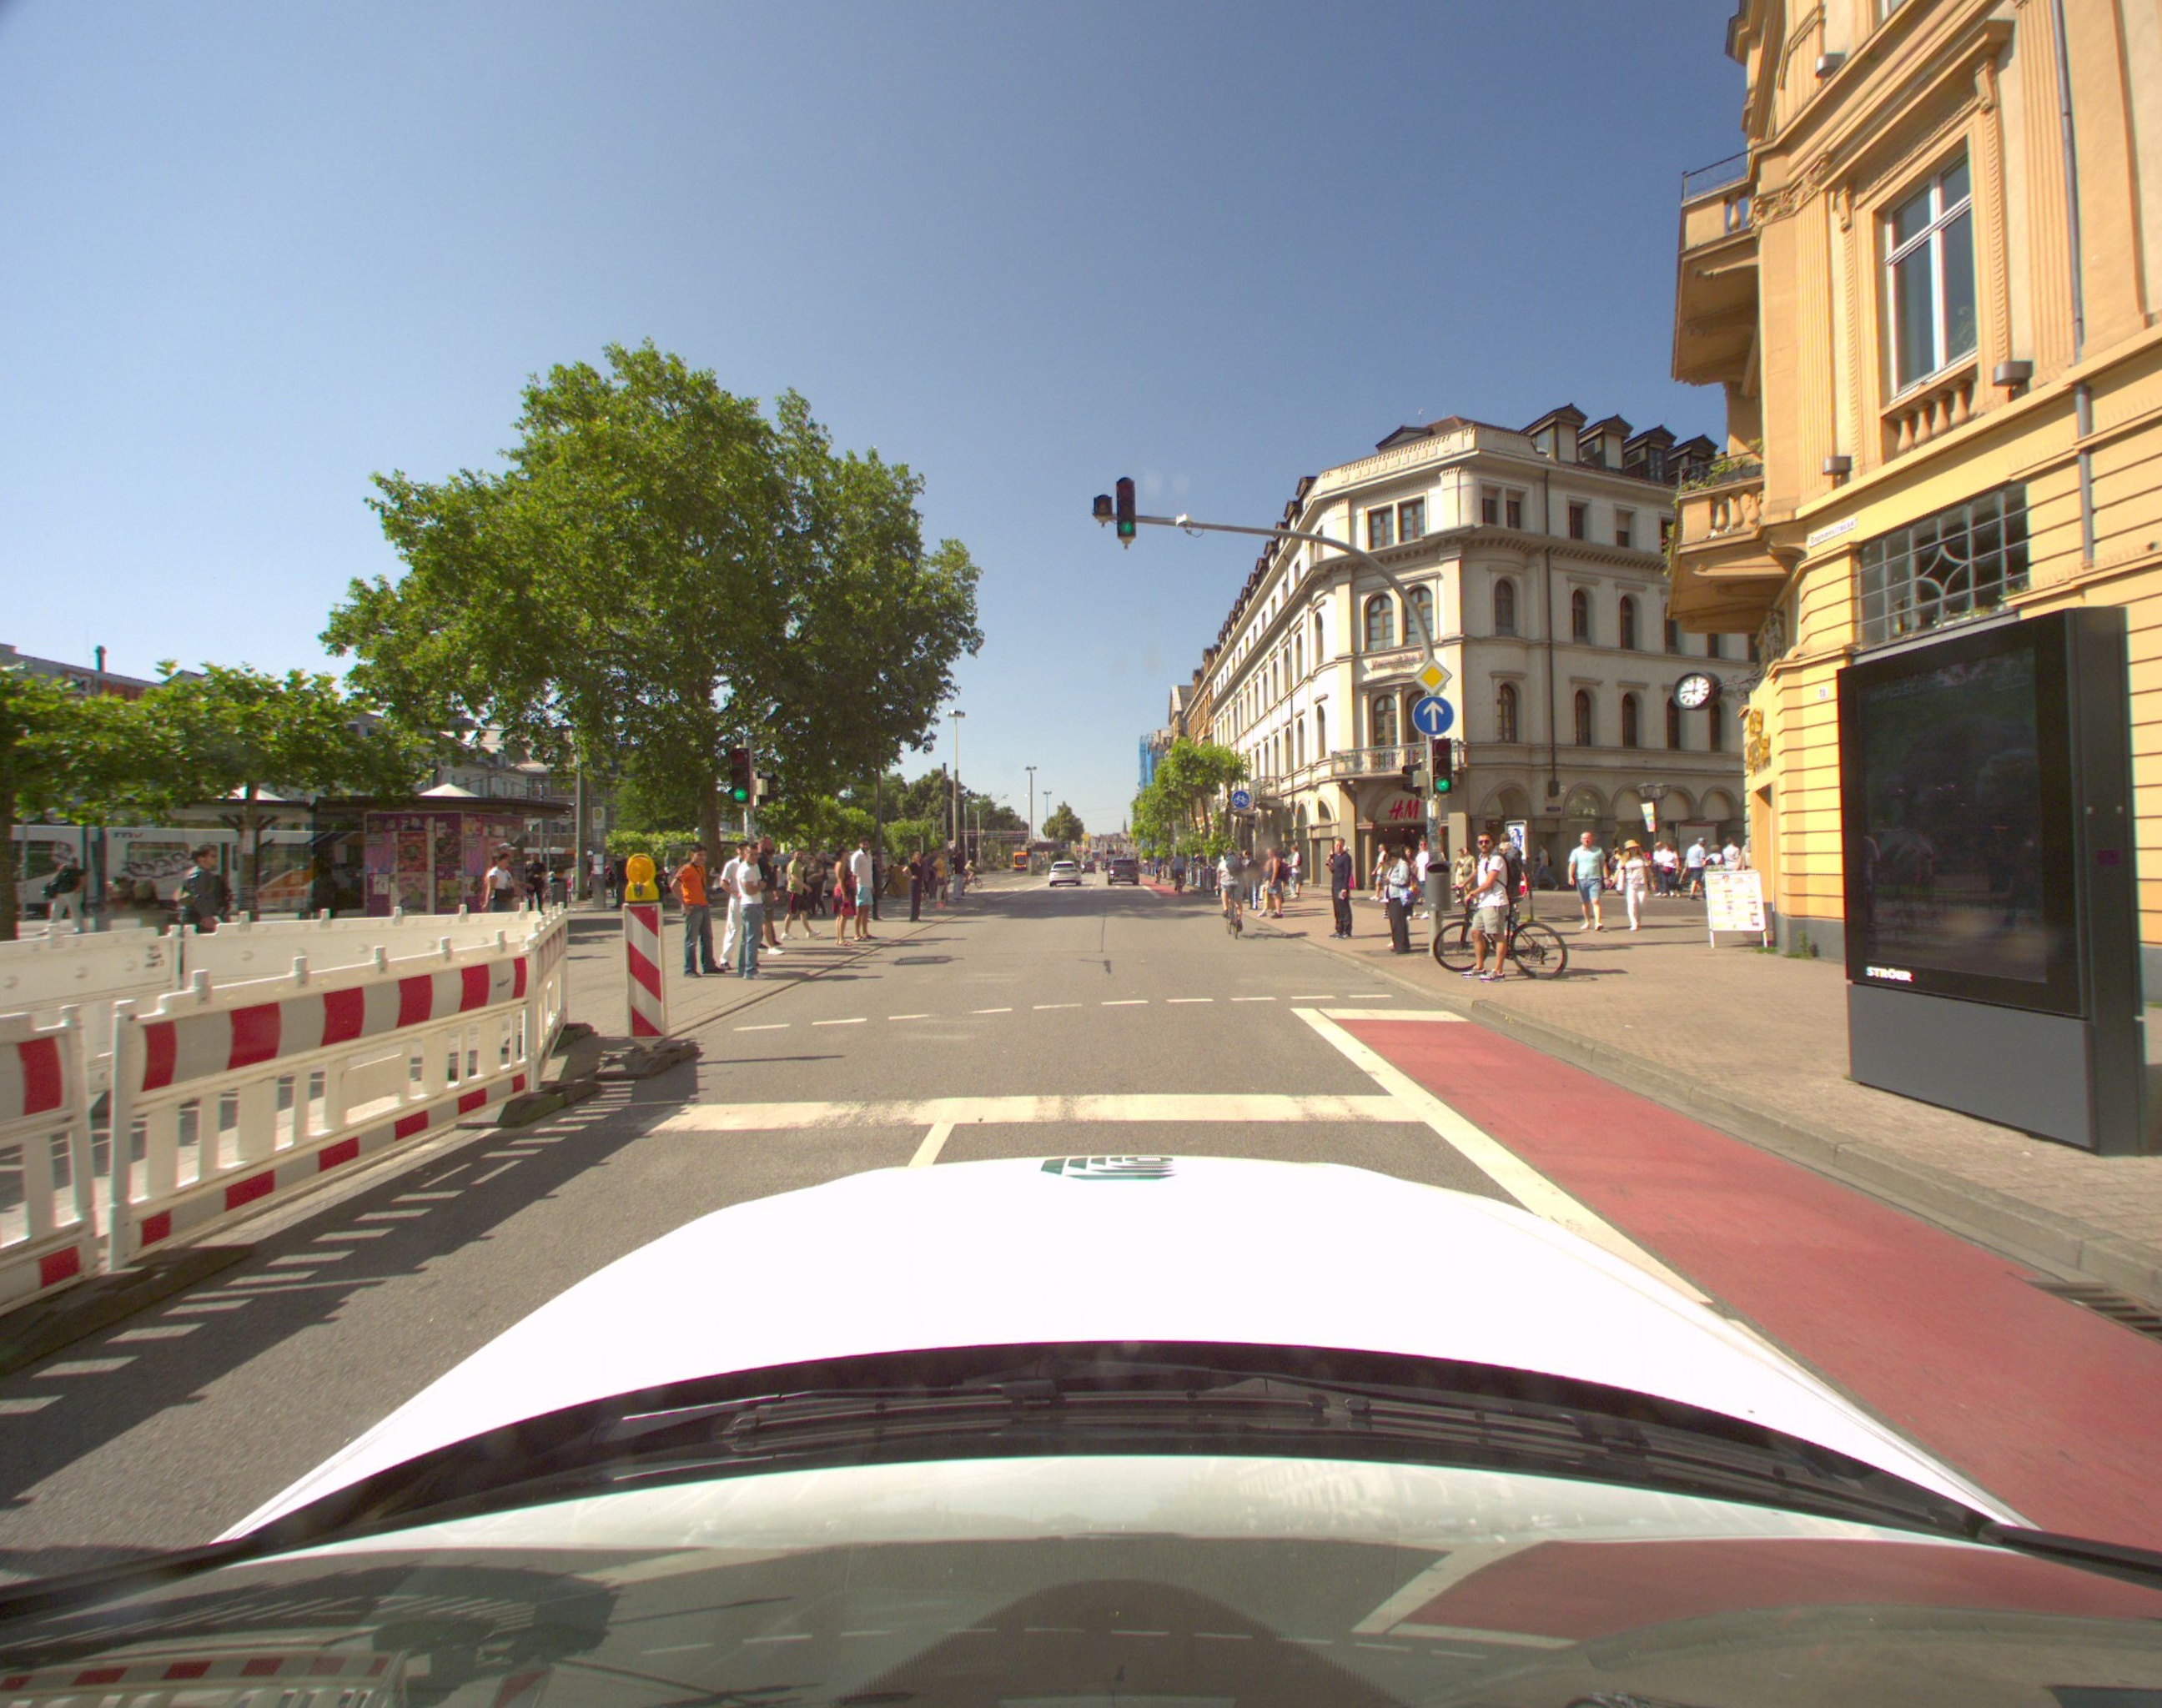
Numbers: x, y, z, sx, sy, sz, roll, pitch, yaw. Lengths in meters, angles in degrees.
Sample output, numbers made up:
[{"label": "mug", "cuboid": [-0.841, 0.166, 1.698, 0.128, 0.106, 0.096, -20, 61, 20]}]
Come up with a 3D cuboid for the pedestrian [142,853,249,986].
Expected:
[{"label": "pedestrian", "cuboid": [-10.583, 0.757, 9.747, 0.573, 1.532, 0.607, 0, -1, 7]}]

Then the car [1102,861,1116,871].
[{"label": "car", "cuboid": [3.912, 1.670, 114.825, 1.839, 1.413, 4.001, -1, 0, 1]}]

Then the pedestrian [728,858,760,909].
[{"label": "pedestrian", "cuboid": [-10.552, 0.927, 25.535, 0.627, 1.566, 0.669, -1, -1, 22]}]

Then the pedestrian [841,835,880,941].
[{"label": "pedestrian", "cuboid": [-4.083, 0.620, 15.104, 0.529, 1.919, 0.560, -1, -1, 3]}]

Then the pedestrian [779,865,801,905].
[{"label": "pedestrian", "cuboid": [-10.337, 1.097, 28.877, 0.661, 1.386, 0.659, 0, -1, -26]}]

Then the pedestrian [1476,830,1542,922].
[{"label": "pedestrian", "cuboid": [8.678, 0.451, 16.553, 0.655, 1.790, 1.233, -1, -2, 1]}]

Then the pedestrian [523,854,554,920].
[{"label": "pedestrian", "cuboid": [-15.534, 0.949, 23.338, 0.499, 1.859, 0.550, -1, -1, 23]}]

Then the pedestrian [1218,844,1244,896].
[{"label": "pedestrian", "cuboid": [5.631, 0.606, 30.643, 0.681, 1.898, 0.615, -4, -1, 28]}]

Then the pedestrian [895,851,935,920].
[{"label": "pedestrian", "cuboid": [-3.884, 0.733, 19.121, 0.627, 1.595, 0.690, -1, -1, 22]}]

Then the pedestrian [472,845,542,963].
[{"label": "pedestrian", "cuboid": [-8.744, 0.747, 12.415, 0.573, 1.739, 0.607, 0, -1, 7]}]

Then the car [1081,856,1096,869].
[{"label": "car", "cuboid": [0.962, 0.997, 99.794, 1.839, 1.560, 4.001, -1, 0, 1]}]

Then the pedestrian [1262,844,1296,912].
[{"label": "pedestrian", "cuboid": [5.353, 0.638, 22.086, 0.608, 1.759, 0.677, -5, -1, 0]}]

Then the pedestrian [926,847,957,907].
[{"label": "pedestrian", "cuboid": [-4.283, 0.704, 25.079, 0.627, 1.794, 0.735, -1, -1, 22]}]

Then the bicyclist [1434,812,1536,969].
[{"label": "bicyclist", "cuboid": [4.906, 0.424, 9.913, 0.577, 1.797, 0.848, -3, 0, -33]}]

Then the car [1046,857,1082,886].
[{"label": "car", "cuboid": [-0.960, 1.021, 48.274, 1.838, 1.560, 4.002, -2, 0, 2]}]

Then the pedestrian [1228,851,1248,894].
[{"label": "pedestrian", "cuboid": [6.078, 0.714, 31.526, 0.525, 1.595, 0.615, -1, 2, 28]}]

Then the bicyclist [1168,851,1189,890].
[{"label": "bicyclist", "cuboid": [4.120, 0.683, 34.325, 0.771, 1.635, 0.851, -1, 0, 2]}]

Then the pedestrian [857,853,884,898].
[{"label": "pedestrian", "cuboid": [-8.266, 0.839, 32.003, 0.671, 1.764, 0.771, -1, -1, 31]}]

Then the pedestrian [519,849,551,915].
[{"label": "pedestrian", "cuboid": [-15.572, 0.786, 23.249, 0.503, 1.859, 0.569, -1, -1, 22]}]

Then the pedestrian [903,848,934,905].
[{"label": "pedestrian", "cuboid": [-5.329, 0.736, 26.717, 0.626, 1.859, 0.735, -1, -1, 31]}]

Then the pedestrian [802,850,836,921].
[{"label": "pedestrian", "cuboid": [-6.665, 0.796, 20.743, 0.573, 1.779, 0.607, 0, -1, 7]}]

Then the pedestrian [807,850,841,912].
[{"label": "pedestrian", "cuboid": [-7.608, 0.783, 24.096, 0.627, 1.810, 0.735, -1, -1, 22]}]

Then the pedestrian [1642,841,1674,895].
[{"label": "pedestrian", "cuboid": [18.703, 0.435, 26.384, 0.543, 1.716, 0.671, 0, 0, -29]}]

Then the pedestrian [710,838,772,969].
[{"label": "pedestrian", "cuboid": [-4.783, 0.679, 11.473, 0.536, 1.779, 0.607, 0, -1, 7]}]

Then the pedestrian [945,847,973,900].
[{"label": "pedestrian", "cuboid": [-4.280, 0.690, 28.643, 0.626, 1.834, 0.735, -1, -1, 31]}]

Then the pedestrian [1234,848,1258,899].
[{"label": "pedestrian", "cuboid": [5.570, 0.665, 27.545, 0.581, 1.673, 0.605, -4, -1, 0]}]

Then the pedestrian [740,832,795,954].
[{"label": "pedestrian", "cuboid": [-5.006, 0.608, 13.027, 0.573, 1.891, 0.654, 1, -1, 3]}]

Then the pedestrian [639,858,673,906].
[{"label": "pedestrian", "cuboid": [-13.575, 0.888, 26.013, 0.627, 1.478, 0.735, -1, -1, 22]}]

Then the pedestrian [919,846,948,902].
[{"label": "pedestrian", "cuboid": [-4.948, 0.669, 27.369, 0.626, 1.859, 0.735, -1, -1, 31]}]

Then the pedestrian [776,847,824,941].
[{"label": "pedestrian", "cuboid": [-5.313, 0.735, 15.442, 0.581, 1.722, 0.790, -1, 0, 3]}]

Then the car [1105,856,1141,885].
[{"label": "car", "cuboid": [2.422, 0.916, 47.432, 1.839, 1.559, 4.000, -2, 0, 0]}]

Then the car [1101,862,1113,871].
[{"label": "car", "cuboid": [4.054, 1.958, 126.620, 1.839, 1.413, 4.001, -1, 0, 1]}]

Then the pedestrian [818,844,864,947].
[{"label": "pedestrian", "cuboid": [-4.192, 0.708, 14.248, 0.573, 1.758, 0.639, -1, -1, 3]}]

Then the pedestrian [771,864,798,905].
[{"label": "pedestrian", "cuboid": [-10.236, 1.033, 28.119, 0.729, 1.386, 0.664, -1, -1, -6]}]

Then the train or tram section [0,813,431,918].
[{"label": "train or tram section", "cuboid": [-36.274, 0.410, 32.790, 2.587, 3.676, 15.647, -1, 0, 37]}]

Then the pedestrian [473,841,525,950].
[{"label": "pedestrian", "cuboid": [-10.337, 0.713, 14.481, 0.666, 1.879, 0.625, 1, -1, -32]}]

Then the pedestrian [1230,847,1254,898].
[{"label": "pedestrian", "cuboid": [5.583, 0.629, 28.220, 0.581, 1.700, 0.605, -4, -1, 0]}]

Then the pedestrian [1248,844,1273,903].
[{"label": "pedestrian", "cuboid": [5.690, 0.620, 25.860, 0.608, 1.824, 0.677, -1, -1, 0]}]

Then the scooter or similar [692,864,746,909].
[{"label": "scooter or similar", "cuboid": [-11.697, 1.034, 26.314, 1.264, 1.421, 1.045, -1, -1, 32]}]

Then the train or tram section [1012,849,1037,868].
[{"label": "train or tram section", "cuboid": [-9.885, 0.770, 143.655, 2.600, 3.348, 11.018, -1, 0, 5]}]

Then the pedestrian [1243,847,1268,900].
[{"label": "pedestrian", "cuboid": [5.709, 0.628, 26.610, 0.581, 1.673, 0.605, -4, -1, 0]}]

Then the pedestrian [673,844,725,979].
[{"label": "pedestrian", "cuboid": [-5.023, 0.731, 10.699, 0.542, 1.718, 0.600, 1, -1, -29]}]

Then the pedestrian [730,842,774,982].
[{"label": "pedestrian", "cuboid": [-4.248, 0.721, 10.507, 0.431, 1.740, 0.600, 1, -1, -29]}]

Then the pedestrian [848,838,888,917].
[{"label": "pedestrian", "cuboid": [-5.131, 0.564, 19.622, 0.627, 1.859, 0.690, -1, -1, 22]}]

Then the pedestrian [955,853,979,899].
[{"label": "pedestrian", "cuboid": [-4.239, 0.808, 30.258, 0.611, 1.668, 0.596, -1, -1, 31]}]

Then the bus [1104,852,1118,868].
[{"label": "bus", "cuboid": [6.874, 1.383, 187.731, 2.984, 3.594, 11.746, -1, -1, 1]}]

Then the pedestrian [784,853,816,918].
[{"label": "pedestrian", "cuboid": [-7.544, 0.837, 21.898, 0.573, 1.711, 0.607, 0, -1, 6]}]

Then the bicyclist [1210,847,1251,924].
[{"label": "bicyclist", "cuboid": [2.968, 0.599, 16.217, 0.628, 1.481, 1.198, 0, 0, 1]}]

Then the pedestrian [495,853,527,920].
[{"label": "pedestrian", "cuboid": [-16.089, 0.908, 22.994, 0.503, 1.859, 0.569, -1, -1, 22]}]

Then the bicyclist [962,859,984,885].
[{"label": "bicyclist", "cuboid": [-6.383, 1.032, 48.111, 1.054, 1.503, 0.735, 0, -1, -25]}]

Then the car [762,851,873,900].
[{"label": "car", "cuboid": [-11.255, 0.888, 35.153, 1.843, 1.955, 4.786, -1, -1, 23]}]

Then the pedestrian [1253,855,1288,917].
[{"label": "pedestrian", "cuboid": [4.867, 0.811, 20.911, 0.608, 1.515, 0.677, -5, -1, 0]}]

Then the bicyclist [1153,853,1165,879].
[{"label": "bicyclist", "cuboid": [4.721, 0.710, 49.084, 0.645, 1.551, 0.818, -1, 0, 1]}]

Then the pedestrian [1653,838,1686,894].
[{"label": "pedestrian", "cuboid": [18.764, 0.374, 25.980, 0.543, 1.770, 0.671, 0, 0, -29]}]

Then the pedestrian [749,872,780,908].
[{"label": "pedestrian", "cuboid": [-10.174, 1.148, 26.169, 0.627, 1.144, 0.669, -1, -1, 22]}]

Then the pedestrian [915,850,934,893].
[{"label": "pedestrian", "cuboid": [-6.461, 0.725, 33.621, 0.608, 1.725, 0.677, -1, -1, 0]}]

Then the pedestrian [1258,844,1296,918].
[{"label": "pedestrian", "cuboid": [4.852, 0.661, 20.210, 0.669, 1.769, 0.677, -4, -1, 0]}]

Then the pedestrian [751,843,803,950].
[{"label": "pedestrian", "cuboid": [-5.098, 0.693, 13.699, 0.573, 1.747, 0.654, 1, -1, 3]}]

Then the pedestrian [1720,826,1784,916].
[{"label": "pedestrian", "cuboid": [14.119, 0.358, 17.163, 0.617, 1.824, 0.794, -2, -1, 2]}]

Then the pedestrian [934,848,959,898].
[{"label": "pedestrian", "cuboid": [-4.974, 0.691, 30.131, 0.611, 1.824, 0.668, -1, -1, 31]}]
